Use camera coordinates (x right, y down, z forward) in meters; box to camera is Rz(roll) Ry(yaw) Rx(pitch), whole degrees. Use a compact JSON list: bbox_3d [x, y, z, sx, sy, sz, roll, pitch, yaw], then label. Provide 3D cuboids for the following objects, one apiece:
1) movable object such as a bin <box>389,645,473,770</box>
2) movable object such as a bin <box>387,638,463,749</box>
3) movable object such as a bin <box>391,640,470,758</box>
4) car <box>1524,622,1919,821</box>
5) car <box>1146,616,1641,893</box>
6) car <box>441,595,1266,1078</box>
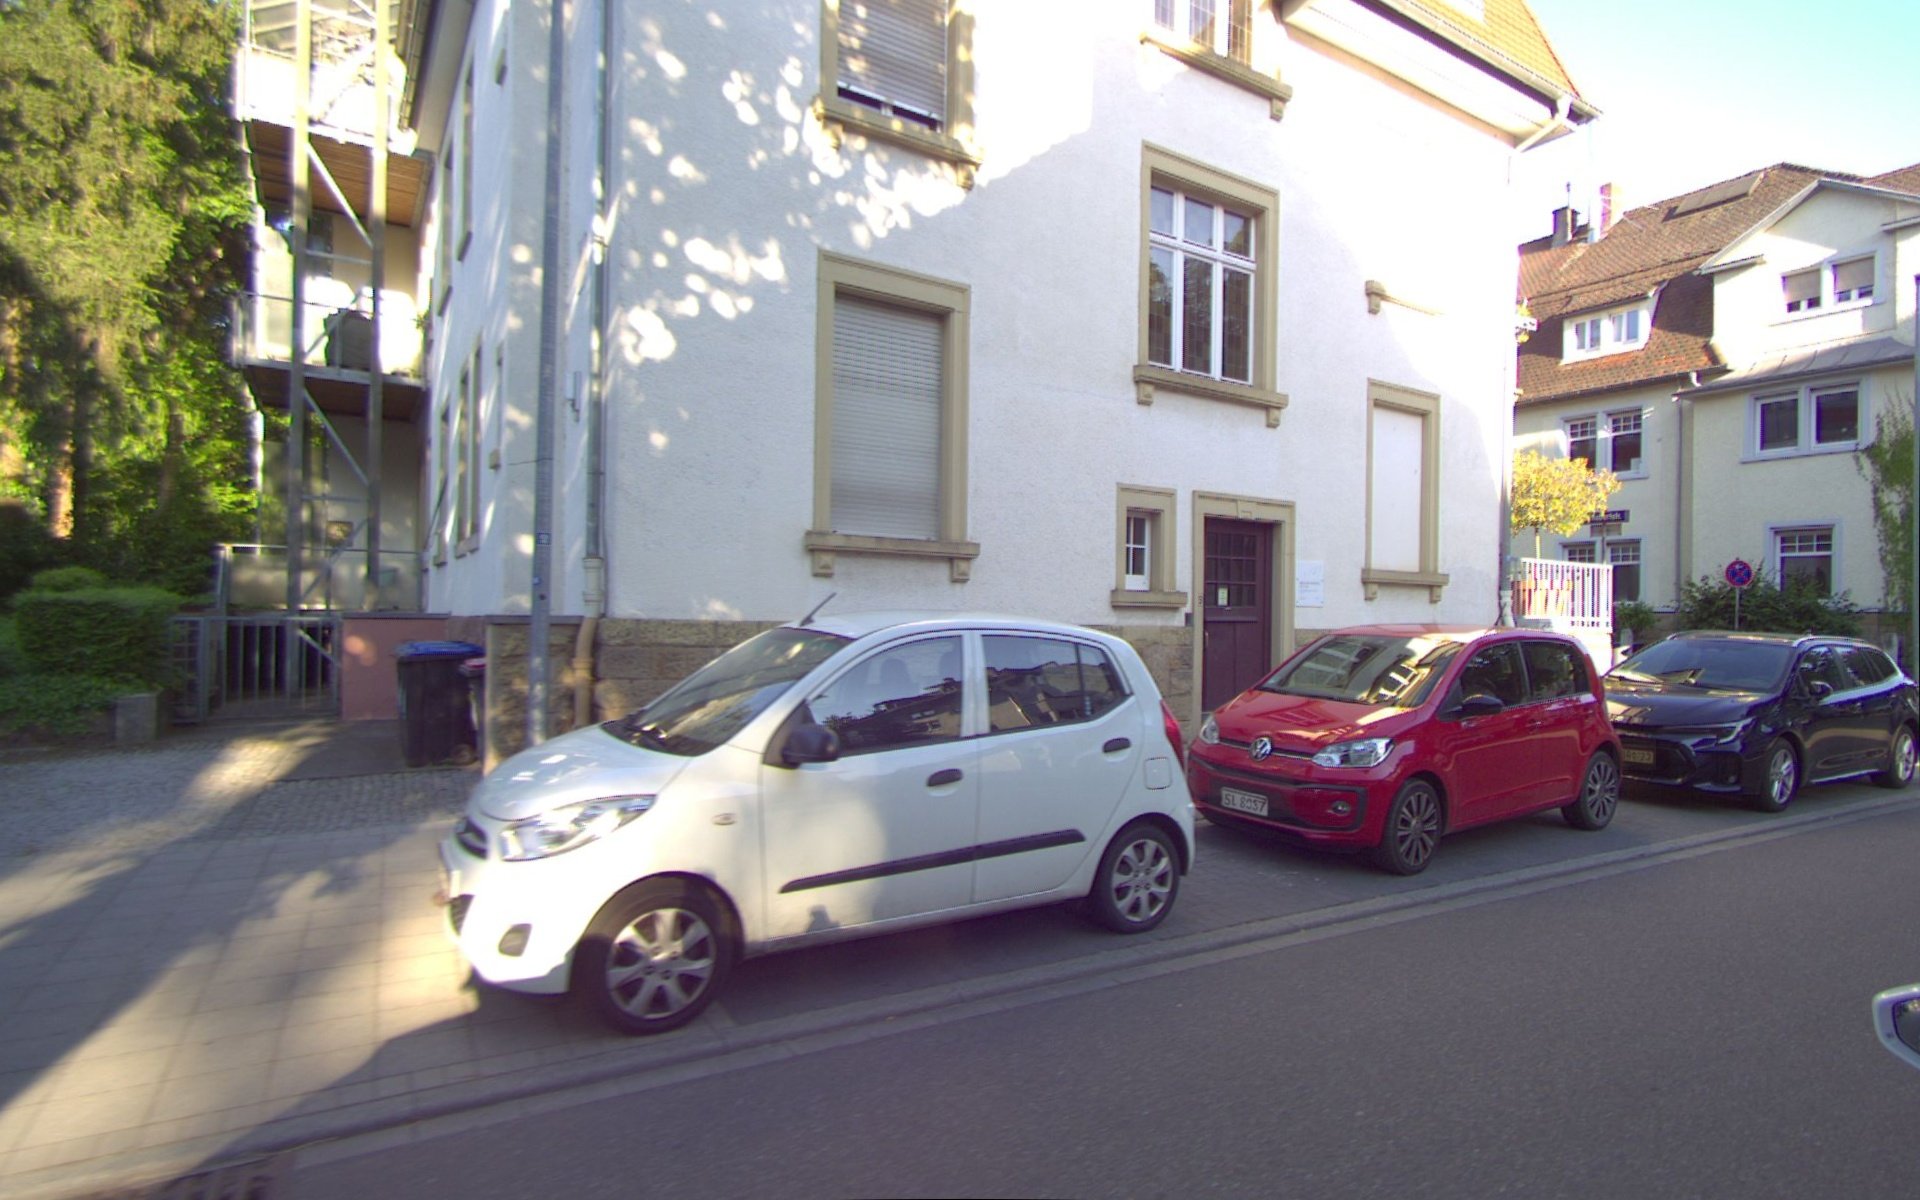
[{"bbox_3d":[-4.856,0.966,9.234,0.656,1.062,0.580,1,1,-29],"label":"movable object such as a bin"},{"bbox_3d":[-5.482,0.941,10.300,0.656,1.062,0.580,1,1,-29],"label":"movable object such as a bin"},{"bbox_3d":[-5.151,0.940,9.786,0.656,1.062,0.580,1,1,-29],"label":"movable object such as a bin"},{"bbox_3d":[7.542,0.995,9.611,4.576,1.473,1.645,1,0,-30],"label":"car"},{"bbox_3d":[3.241,0.902,7.286,3.668,1.496,1.571,1,0,-34],"label":"car"},{"bbox_3d":[-0.399,0.795,4.881,3.665,1.541,1.573,1,0,-32],"label":"car"}]
